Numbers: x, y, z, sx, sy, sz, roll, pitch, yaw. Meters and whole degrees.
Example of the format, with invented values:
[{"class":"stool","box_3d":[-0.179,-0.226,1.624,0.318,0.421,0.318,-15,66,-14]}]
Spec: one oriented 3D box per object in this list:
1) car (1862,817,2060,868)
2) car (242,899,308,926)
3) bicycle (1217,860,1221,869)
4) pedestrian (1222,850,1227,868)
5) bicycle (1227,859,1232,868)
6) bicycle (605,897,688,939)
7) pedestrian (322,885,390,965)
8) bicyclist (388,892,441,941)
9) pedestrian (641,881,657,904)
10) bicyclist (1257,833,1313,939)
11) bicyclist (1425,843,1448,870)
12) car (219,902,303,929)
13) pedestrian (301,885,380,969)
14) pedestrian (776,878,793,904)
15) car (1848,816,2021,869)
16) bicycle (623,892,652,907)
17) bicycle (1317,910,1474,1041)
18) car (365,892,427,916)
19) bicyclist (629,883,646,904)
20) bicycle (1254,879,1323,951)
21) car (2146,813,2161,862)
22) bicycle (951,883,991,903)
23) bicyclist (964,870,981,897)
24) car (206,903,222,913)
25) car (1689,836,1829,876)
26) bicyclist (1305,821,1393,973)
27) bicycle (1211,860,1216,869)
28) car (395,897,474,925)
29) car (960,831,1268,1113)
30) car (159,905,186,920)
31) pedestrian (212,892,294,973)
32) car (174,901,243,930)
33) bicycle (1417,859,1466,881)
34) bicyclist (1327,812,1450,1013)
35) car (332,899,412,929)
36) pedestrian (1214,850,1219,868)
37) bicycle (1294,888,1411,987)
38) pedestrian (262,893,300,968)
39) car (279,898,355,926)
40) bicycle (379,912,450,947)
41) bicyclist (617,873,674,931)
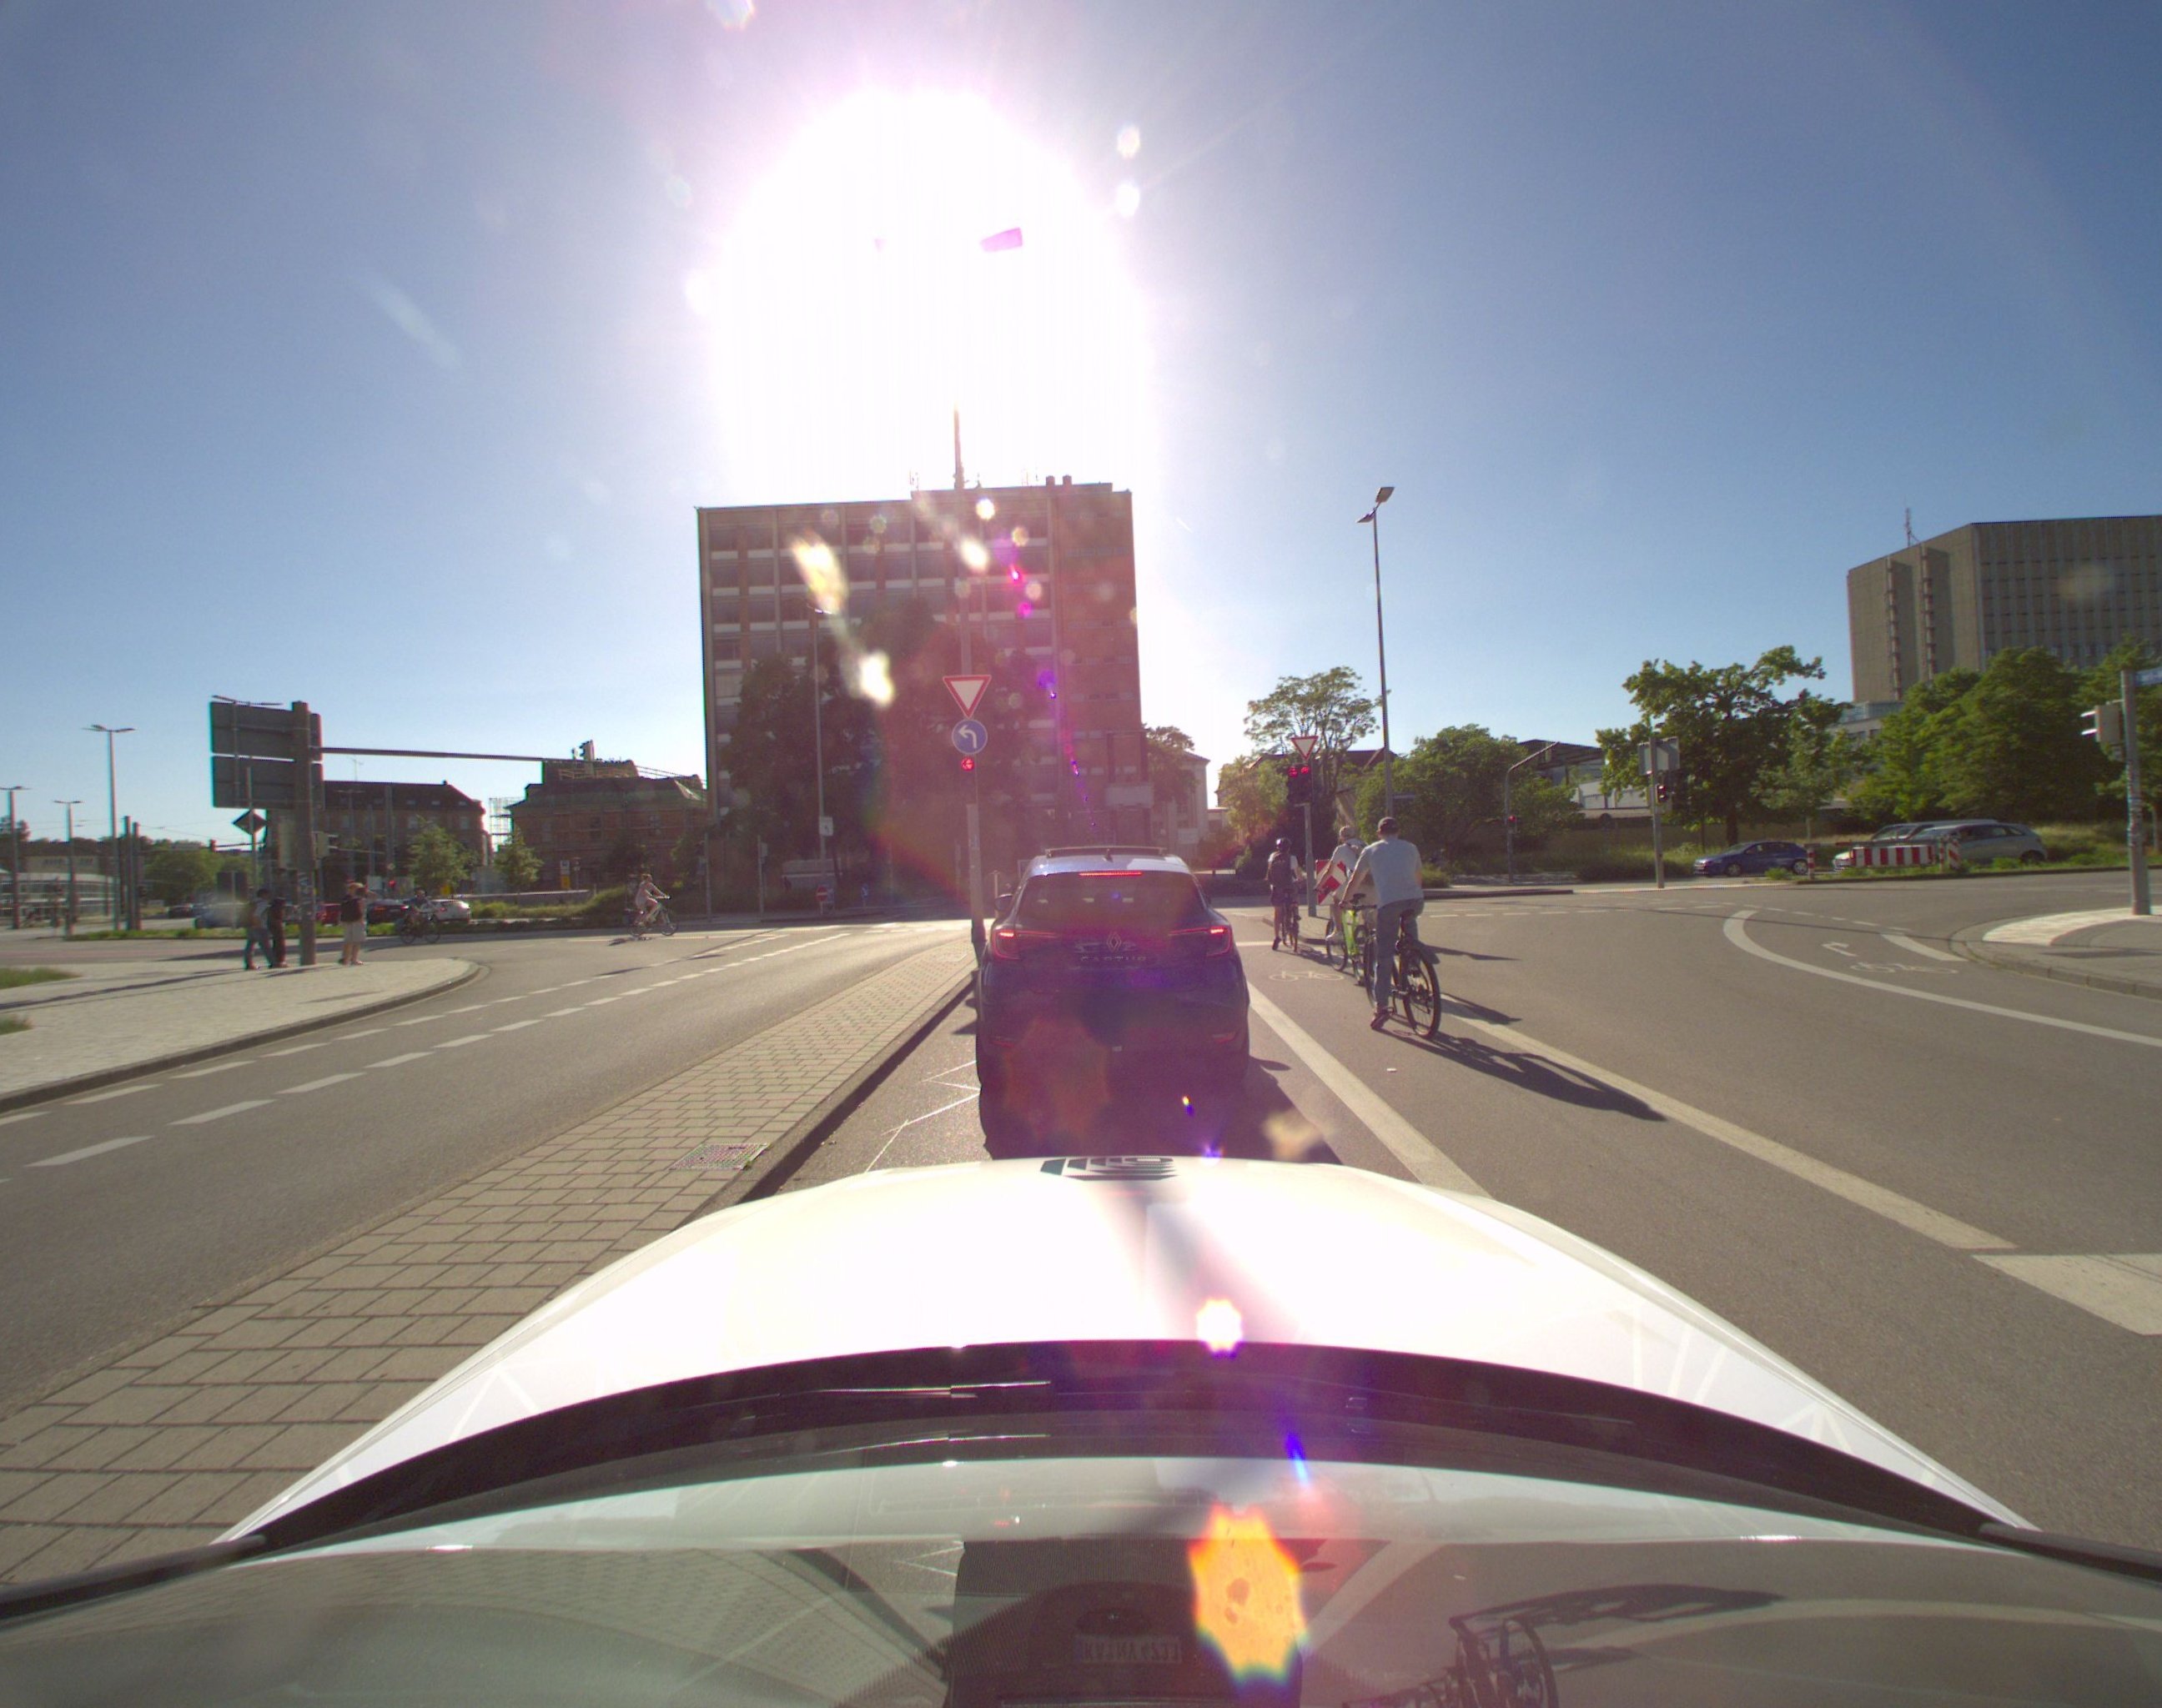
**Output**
[{"class":"car","box_3d":[28.143,-0.341,26.170,4.025,1.408,1.872,-2,-1,8]},{"class":"car","box_3d":[-53.813,3.918,54.379,4.331,1.632,1.855,-3,-1,27]},{"class":"bicycle","box_3d":[15.878,1.220,93.826,0.403,0.973,1.686,0,-1,6]},{"class":"pedestrian","box_3d":[16.216,0.599,92.187,0.473,2.014,0.469,-2,-1,8]},{"class":"bicycle","box_3d":[17.190,1.070,94.177,0.403,0.973,1.686,0,-1,6]},{"class":"bicycle","box_3d":[-11.972,1.759,22.441,1.970,0.995,0.744,-4,-1,13]},{"class":"pedestrian","box_3d":[-16.214,1.579,18.215,0.786,1.690,0.792,-5,-3,17]},{"class":"bicyclist","box_3d":[-20.649,1.931,25.225,1.115,1.422,0.690,-4,-1,16]},{"class":"pedestrian","box_3d":[-30.572,2.706,57.672,0.852,1.571,0.562,-3,-1,25]},{"class":"bicyclist","box_3d":[3.240,0.498,12.991,0.722,1.629,0.970,0,-1,6]},{"class":"bicyclist","box_3d":[17.808,0.115,40.783,0.821,1.316,0.697,-3,1,7]},{"class":"car","box_3d":[-49.011,3.676,48.666,4.841,1.388,1.854,-3,-1,23]},{"class":"pedestrian","box_3d":[-16.998,1.656,18.703,0.696,1.800,1.109,-6,-3,25]},{"class":"pedestrian","box_3d":[-19.214,2.380,52.750,0.730,1.603,0.602,-3,-1,24]},{"class":"car","box_3d":[35.254,-0.443,33.764,4.856,2.107,2.002,0,-1,4]},{"class":"bicycle","box_3d":[-30.822,3.191,56.610,2.057,0.964,0.602,-3,-1,25]},{"class":"bicycle","box_3d":[2.722,1.008,7.300,0.737,0.896,1.980,0,-1,3]},{"class":"car","box_3d":[-50.257,3.677,59.726,4.777,1.632,1.856,-3,-1,30]},{"class":"bicyclist","box_3d":[-30.835,2.754,56.612,0.928,1.429,0.602,-3,-1,24]},{"class":"bicycle","box_3d":[3.250,0.925,12.938,0.735,0.995,2.177,0,-1,6]},{"class":"car","box_3d":[36.988,-0.626,25.352,4.711,1.584,2.002,-2,-1,4]},{"class":"bicycle","box_3d":[-5.925,2.109,44.030,2.016,0.964,0.593,-2,-1,-25]},{"class":"bicyclist","box_3d":[-5.887,1.594,44.058,0.741,1.441,0.593,-2,-1,-25]},{"class":"car","box_3d":[-181.640,11.311,170.592,3.948,2.013,2.013,-3,-1,38]},{"class":"car","box_3d":[28.220,0.098,34.012,4.140,1.435,1.747,-2,-1,8]},{"class":"bicyclist","box_3d":[3.217,0.492,9.854,0.644,1.739,1.065,0,-1,-4]},{"class":"bicycle","box_3d":[15.260,1.225,93.884,0.403,0.973,1.686,0,-1,6]},{"class":"car","box_3d":[-36.399,3.208,45.833,3.803,1.435,1.752,-2,-1,21]},{"class":"car","box_3d":[0.205,0.706,6.806,1.798,1.632,3.999,-1,0,0]},{"class":"car","box_3d":[-111.975,7.231,100.405,4.330,1.632,1.856,-3,-1,37]},{"class":"pedestrian","box_3d":[-18.240,1.708,17.965,0.900,1.690,0.839,-4,-3,-3]},{"class":"car","box_3d":[-55.159,3.905,51.476,4.331,1.632,1.855,-3,-1,27]},{"class":"bicycle","box_3d":[18.026,0.799,40.740,2.069,0.930,0.698,-3,1,8]},{"class":"bicyclist","box_3d":[2.715,0.491,7.299,0.748,1.668,1.017,0,-1,3]},{"class":"car","box_3d":[-42.573,3.616,48.903,4.334,1.632,1.854,-3,-1,23]},{"class":"pedestrian","box_3d":[15.104,0.596,90.861,0.473,2.014,0.524,-2,-1,8]},{"class":"bicycle","box_3d":[3.216,0.953,9.856,0.657,1.003,1.967,0,-1,-4]},{"class":"pedestrian","box_3d":[-19.155,1.810,19.504,0.600,1.729,0.572,-2,-1,-45]},{"class":"car","box_3d":[-48.456,3.682,51.653,4.334,1.632,1.854,-3,-1,23]},{"class":"bicycle","box_3d":[-20.621,2.325,25.211,1.968,0.918,0.690,-5,-1,17]},{"class":"bicyclist","box_3d":[-11.997,1.324,22.457,1.061,1.500,0.744,-4,-1,13]}]
